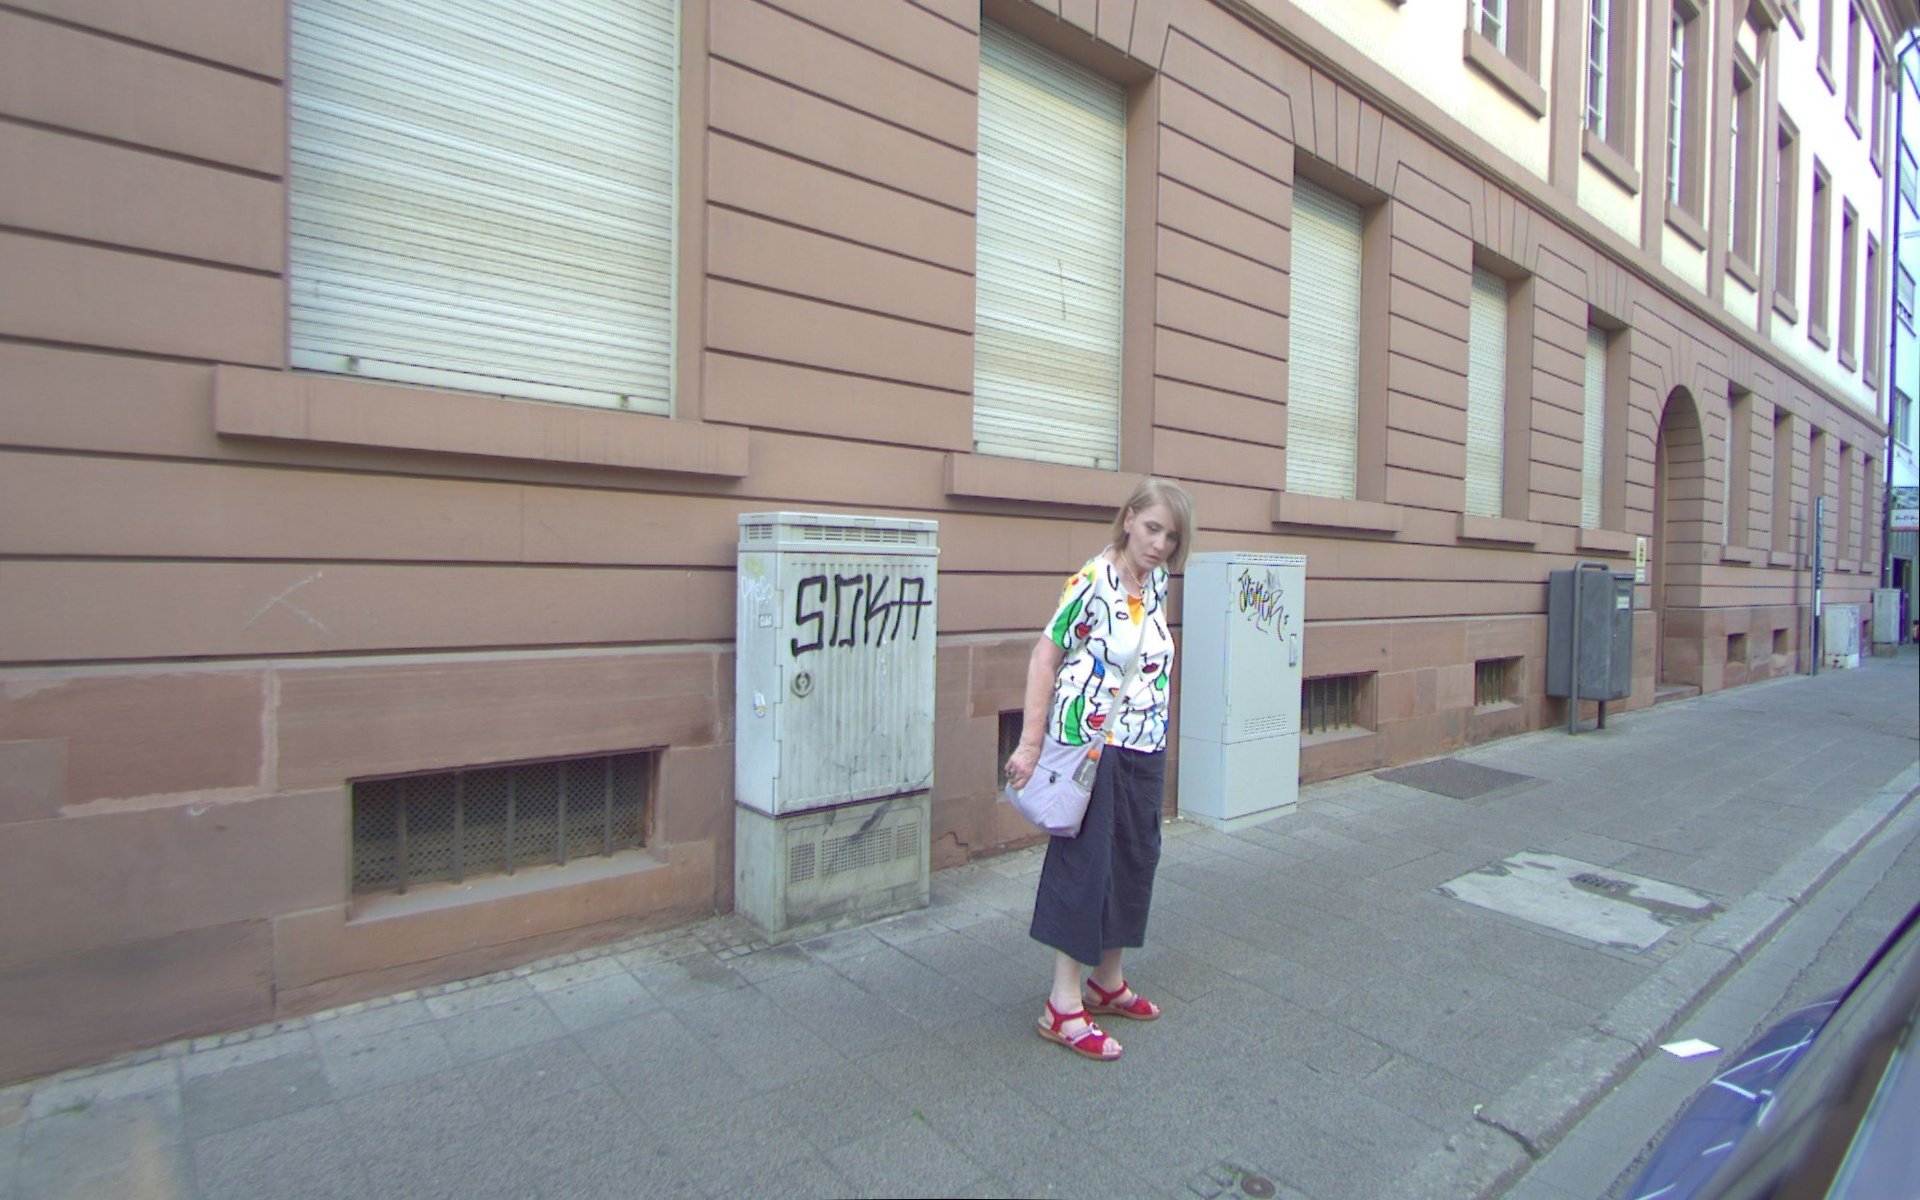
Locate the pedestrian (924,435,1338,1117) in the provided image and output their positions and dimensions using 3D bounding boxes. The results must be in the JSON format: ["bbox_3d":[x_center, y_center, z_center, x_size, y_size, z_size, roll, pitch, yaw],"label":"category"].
[{"bbox_3d":[0.475,0.420,3.095,0.795,1.691,0.932,1,2,-29],"label":"pedestrian"}]
